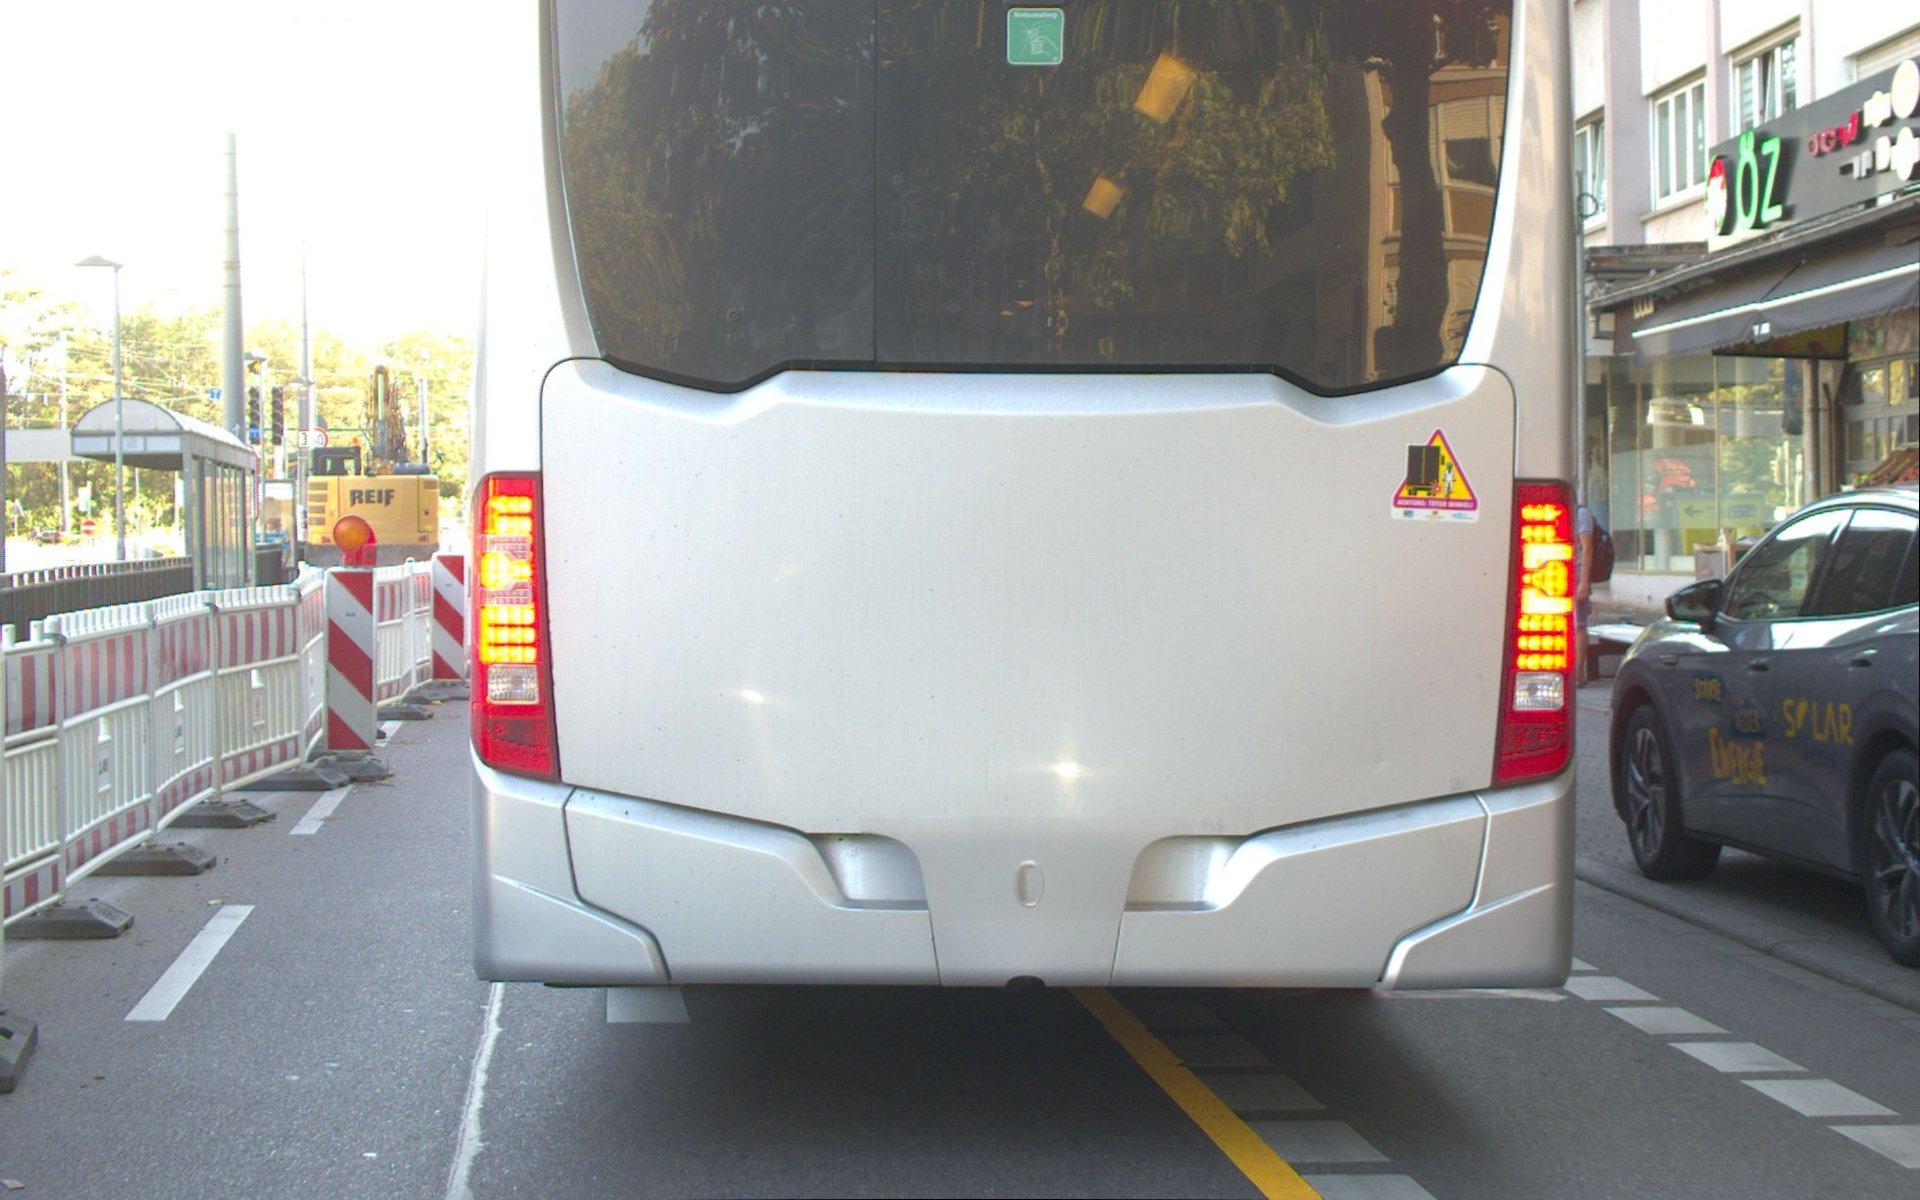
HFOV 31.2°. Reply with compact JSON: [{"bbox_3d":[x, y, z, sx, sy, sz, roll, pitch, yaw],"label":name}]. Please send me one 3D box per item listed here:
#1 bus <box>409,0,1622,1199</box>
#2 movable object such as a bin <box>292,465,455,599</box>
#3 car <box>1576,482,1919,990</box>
[{"bbox_3d":[0.104,-0.355,12.556,2.608,3.159,10.292,0,1,0],"label":"bus"},{"bbox_3d":[-11.137,-1.311,65.569,2.806,2.453,4.001,-1,1,-6],"label":"movable object such as a bin"},{"bbox_3d":[3.729,0.371,12.470,1.739,1.592,4.300,-3,2,-6],"label":"car"}]
